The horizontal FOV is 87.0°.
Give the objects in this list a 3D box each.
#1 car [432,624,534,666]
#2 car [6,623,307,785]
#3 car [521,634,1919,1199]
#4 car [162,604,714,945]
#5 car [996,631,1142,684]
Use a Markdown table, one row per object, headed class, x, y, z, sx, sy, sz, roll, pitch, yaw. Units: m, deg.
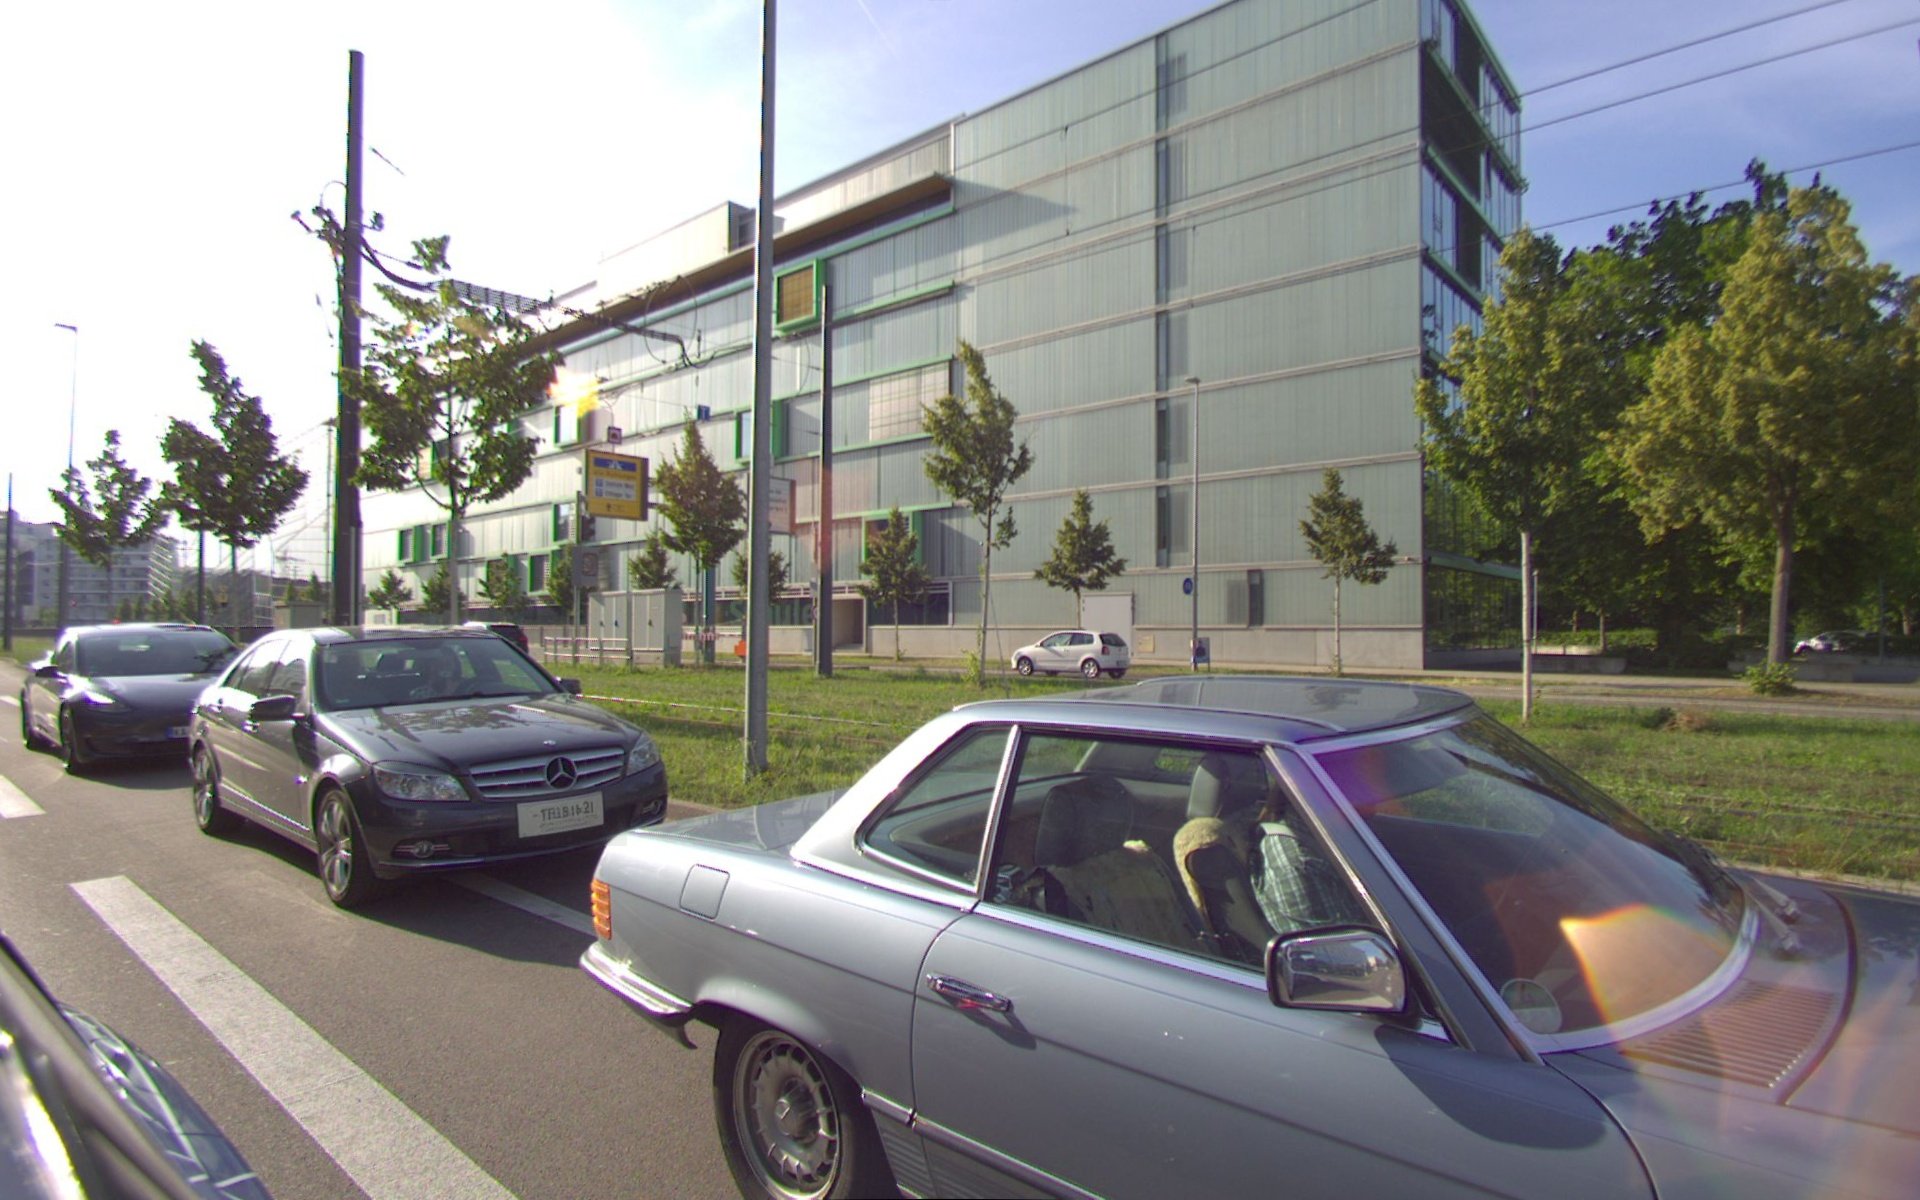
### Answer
| class | x | y | z | sx | sy | sz | roll | pitch | yaw |
| --- | --- | --- | --- | --- | --- | --- | --- | --- | --- |
| car | -20.536 | 1.931 | 43.484 | 4.989 | 1.697 | 1.974 | -2 | -3 | 39 |
| car | -8.970 | 1.005 | 11.158 | 4.332 | 1.396 | 1.870 | -2 | -1 | 41 |
| car | 0.986 | 0.778 | 2.126 | 4.397 | 1.340 | 1.746 | -2 | -1 | 40 |
| car | -3.634 | 0.841 | 6.622 | 4.352 | 1.490 | 1.768 | -2 | -1 | 42 |
| car | 3.352 | 1.758 | 31.617 | 4.219 | 1.539 | 1.858 | -2 | -3 | 39 |
